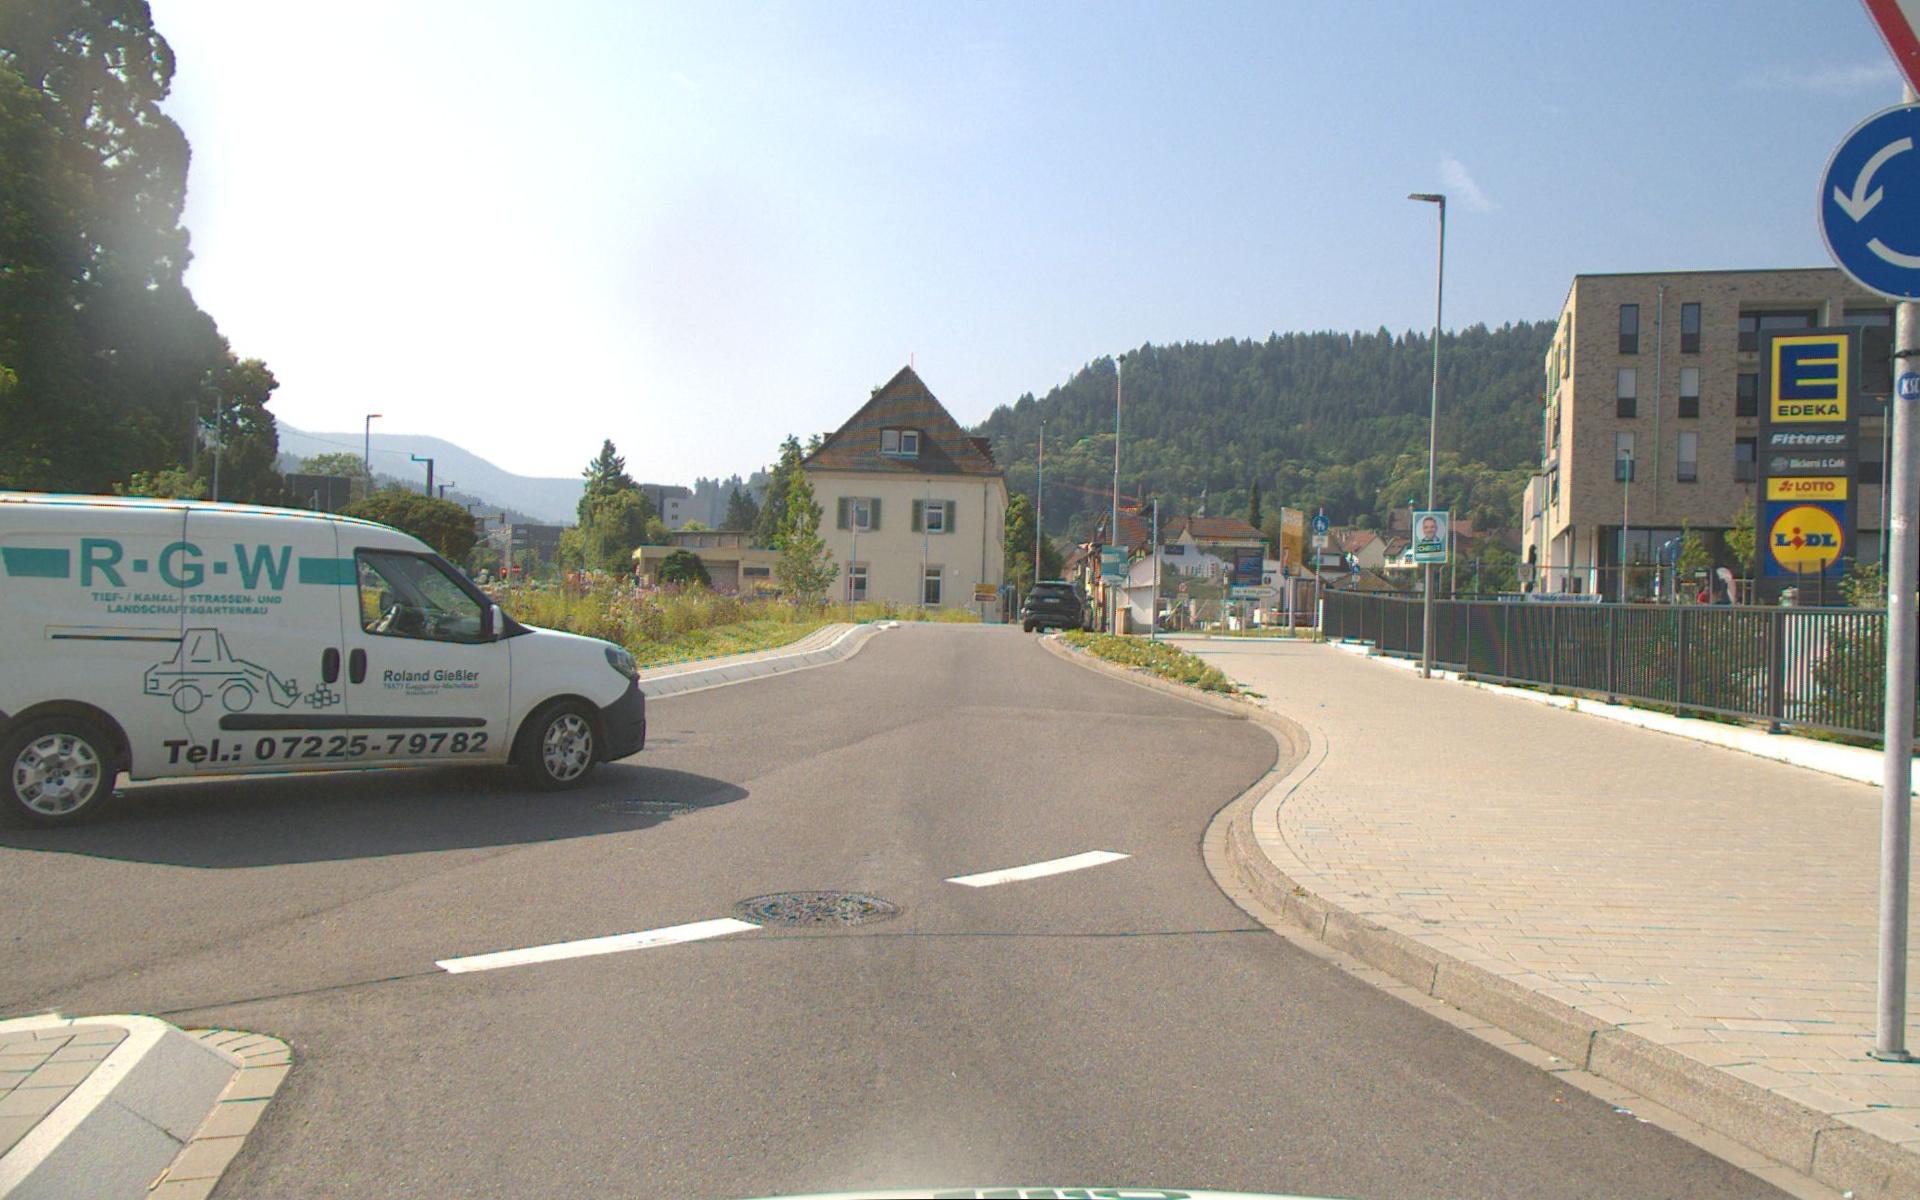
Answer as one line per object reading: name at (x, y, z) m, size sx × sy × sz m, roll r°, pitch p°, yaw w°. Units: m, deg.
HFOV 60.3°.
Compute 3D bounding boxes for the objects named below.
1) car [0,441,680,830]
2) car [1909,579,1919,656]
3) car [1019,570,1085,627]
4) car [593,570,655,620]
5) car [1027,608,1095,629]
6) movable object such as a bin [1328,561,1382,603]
car at (-4.296, 0.135, 10.806) m, size 4.555 × 2.113 × 1.789 m, roll 0°, pitch 3°, yaw -37°
car at (19.834, 0.371, 30.651) m, size 3.481 × 1.455 × 1.711 m, roll 2°, pitch 0°, yaw 3°
car at (2.975, -0.012, 53.062) m, size 1.841 × 1.713 × 4.003 m, roll 1°, pitch -1°, yaw 7°
car at (-14.373, -0.224, 70.909) m, size 1.772 × 2.049 × 4.000 m, roll 1°, pitch 0°, yaw 0°
car at (4.779, 0.864, 78.753) m, size 1.338 × 0.981 × 3.229 m, roll 2°, pitch -1°, yaw -42°
movable object such as a bin at (18.228, -0.836, 76.392) m, size 2.391 × 1.876 × 1.429 m, roll 1°, pitch -1°, yaw 12°
